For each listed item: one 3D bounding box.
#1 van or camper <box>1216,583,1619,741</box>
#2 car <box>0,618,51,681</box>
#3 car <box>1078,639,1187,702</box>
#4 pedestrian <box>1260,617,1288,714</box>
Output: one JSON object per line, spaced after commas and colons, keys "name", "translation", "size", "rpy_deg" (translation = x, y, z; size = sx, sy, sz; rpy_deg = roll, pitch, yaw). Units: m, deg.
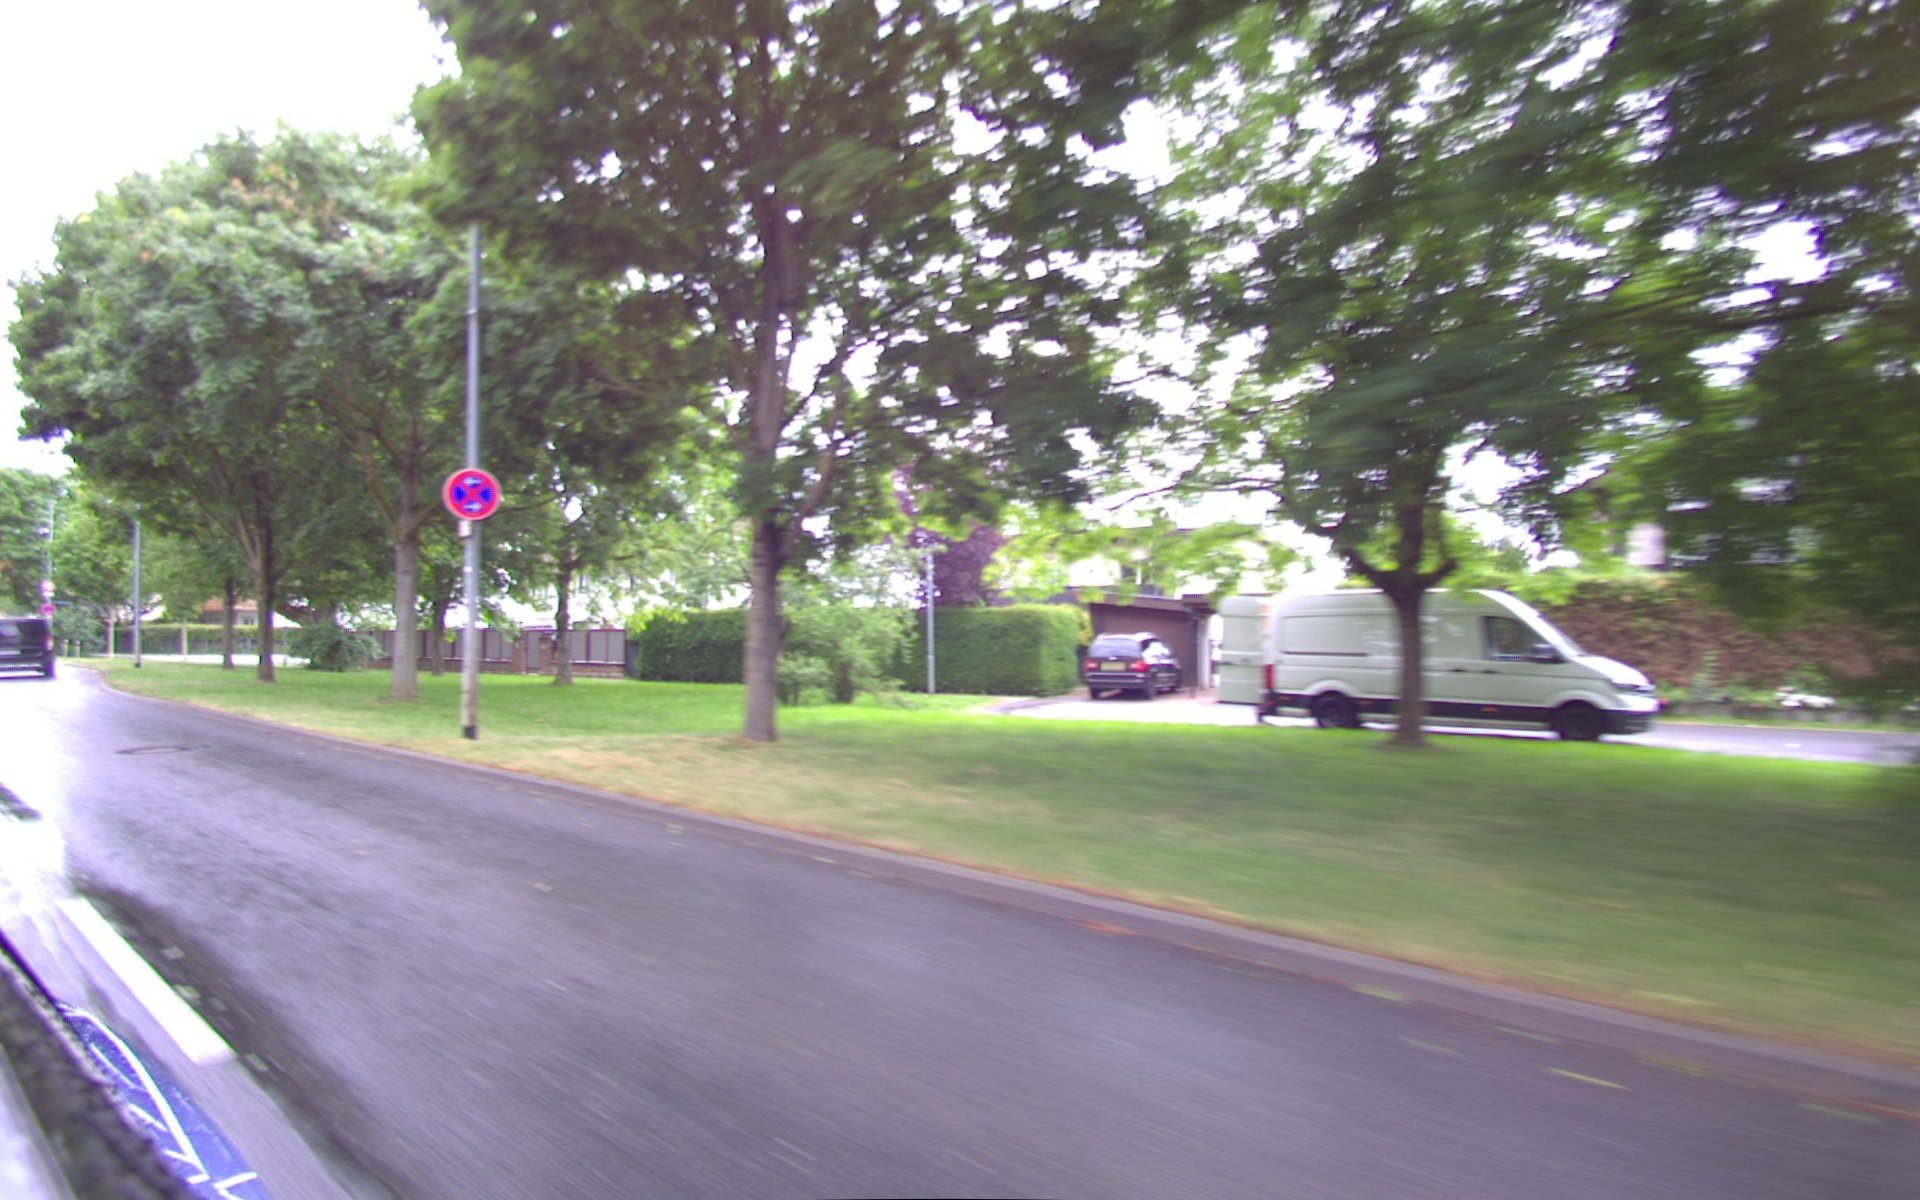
{"name": "van or camper", "translation": [7.788, 1.022, 17.662], "size": [6.135, 2.353, 2.073], "rpy_deg": [-1, -3, 33]}
{"name": "car", "translation": [-28.309, 1.442, 30.050], "size": [1.756, 1.787, 4.288], "rpy_deg": [1, -2, -44]}
{"name": "car", "translation": [4.813, 1.882, 27.878], "size": [1.894, 1.606, 3.963], "rpy_deg": [-1, -3, 27]}
{"name": "pedestrian", "translation": [5.949, 1.235, 19.172], "size": [0.399, 1.796, 0.480], "rpy_deg": [-1, -3, 32]}
